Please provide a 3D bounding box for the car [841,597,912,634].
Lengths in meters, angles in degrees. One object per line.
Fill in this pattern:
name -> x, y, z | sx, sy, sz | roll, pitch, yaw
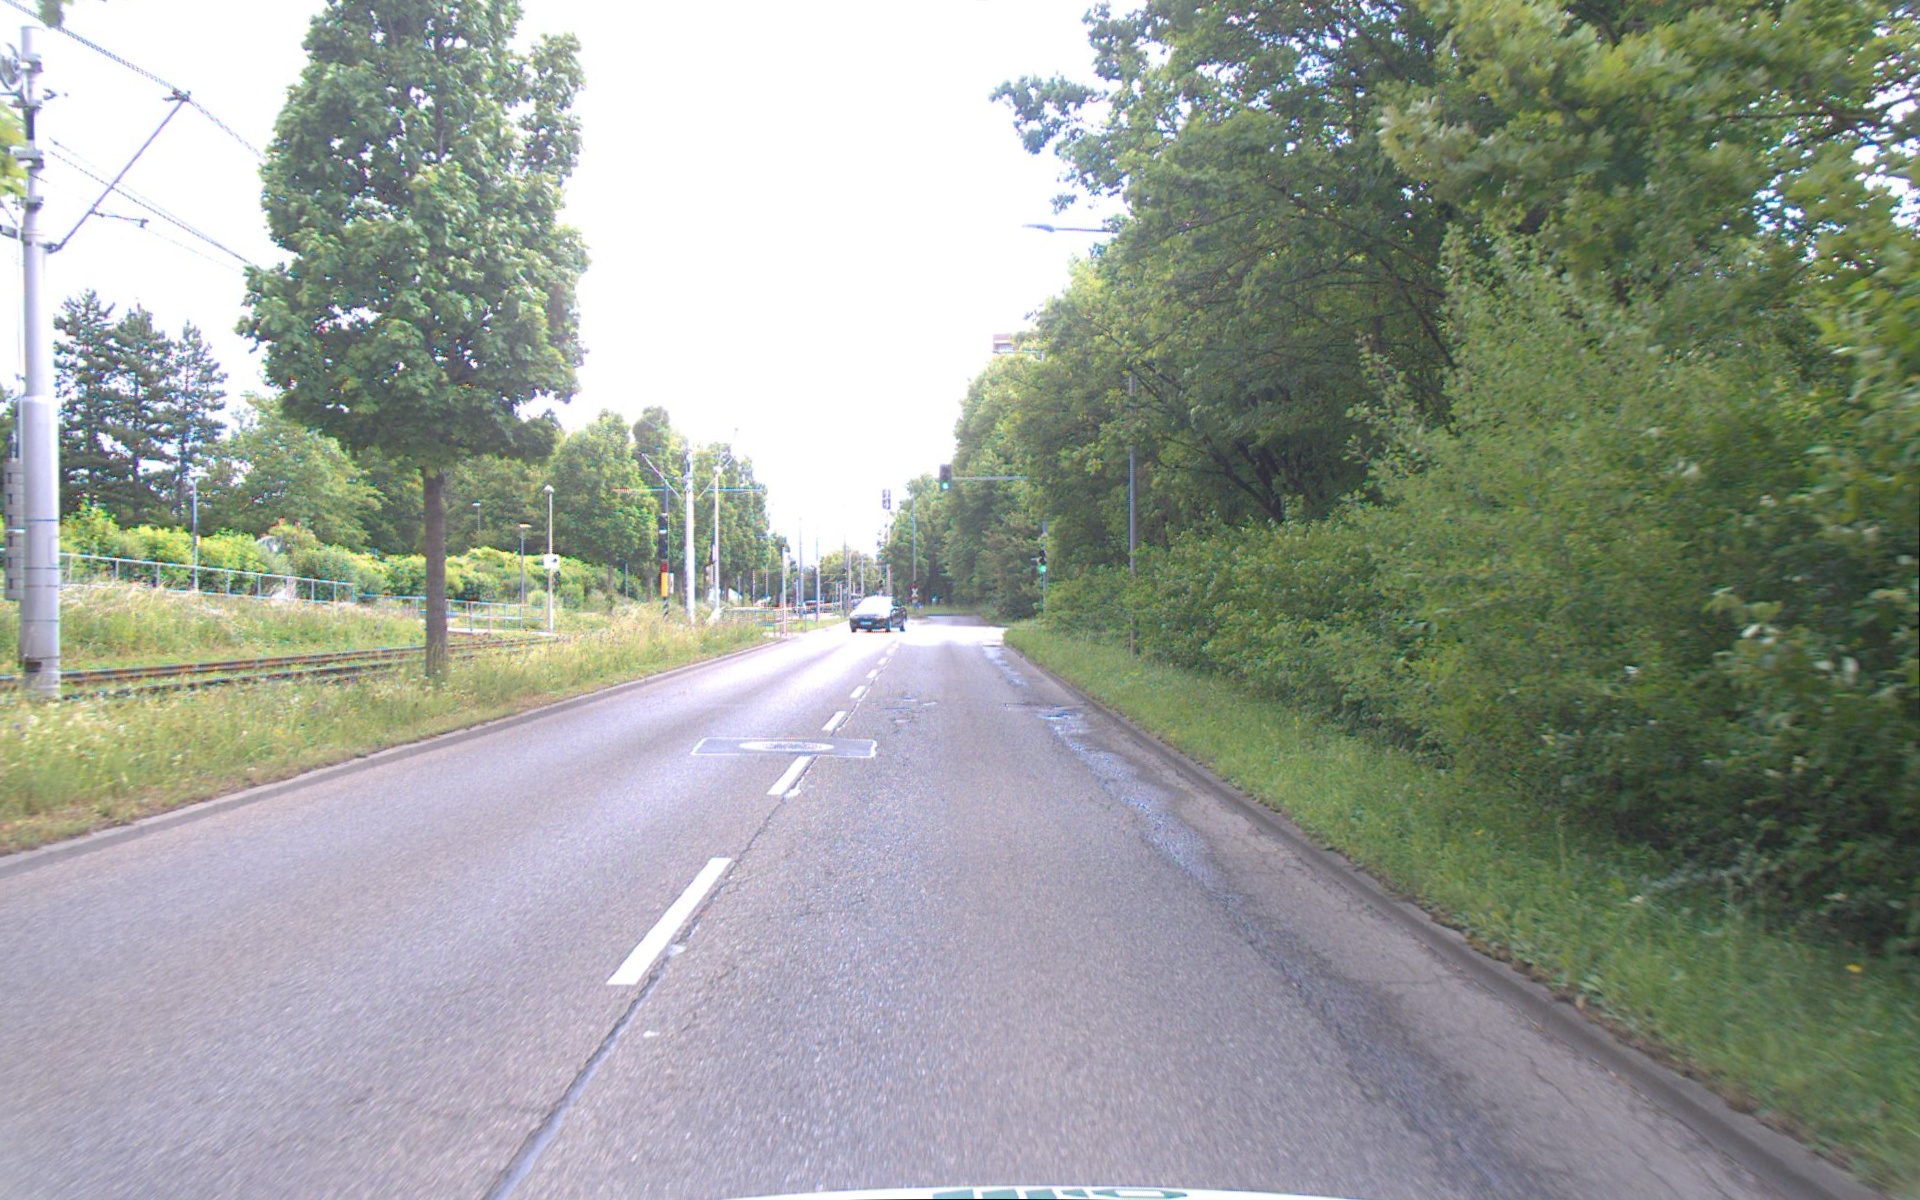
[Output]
car -> -3.584, 0.647, 71.843 | 1.811, 1.496, 4.259 | 1, 0, 16
